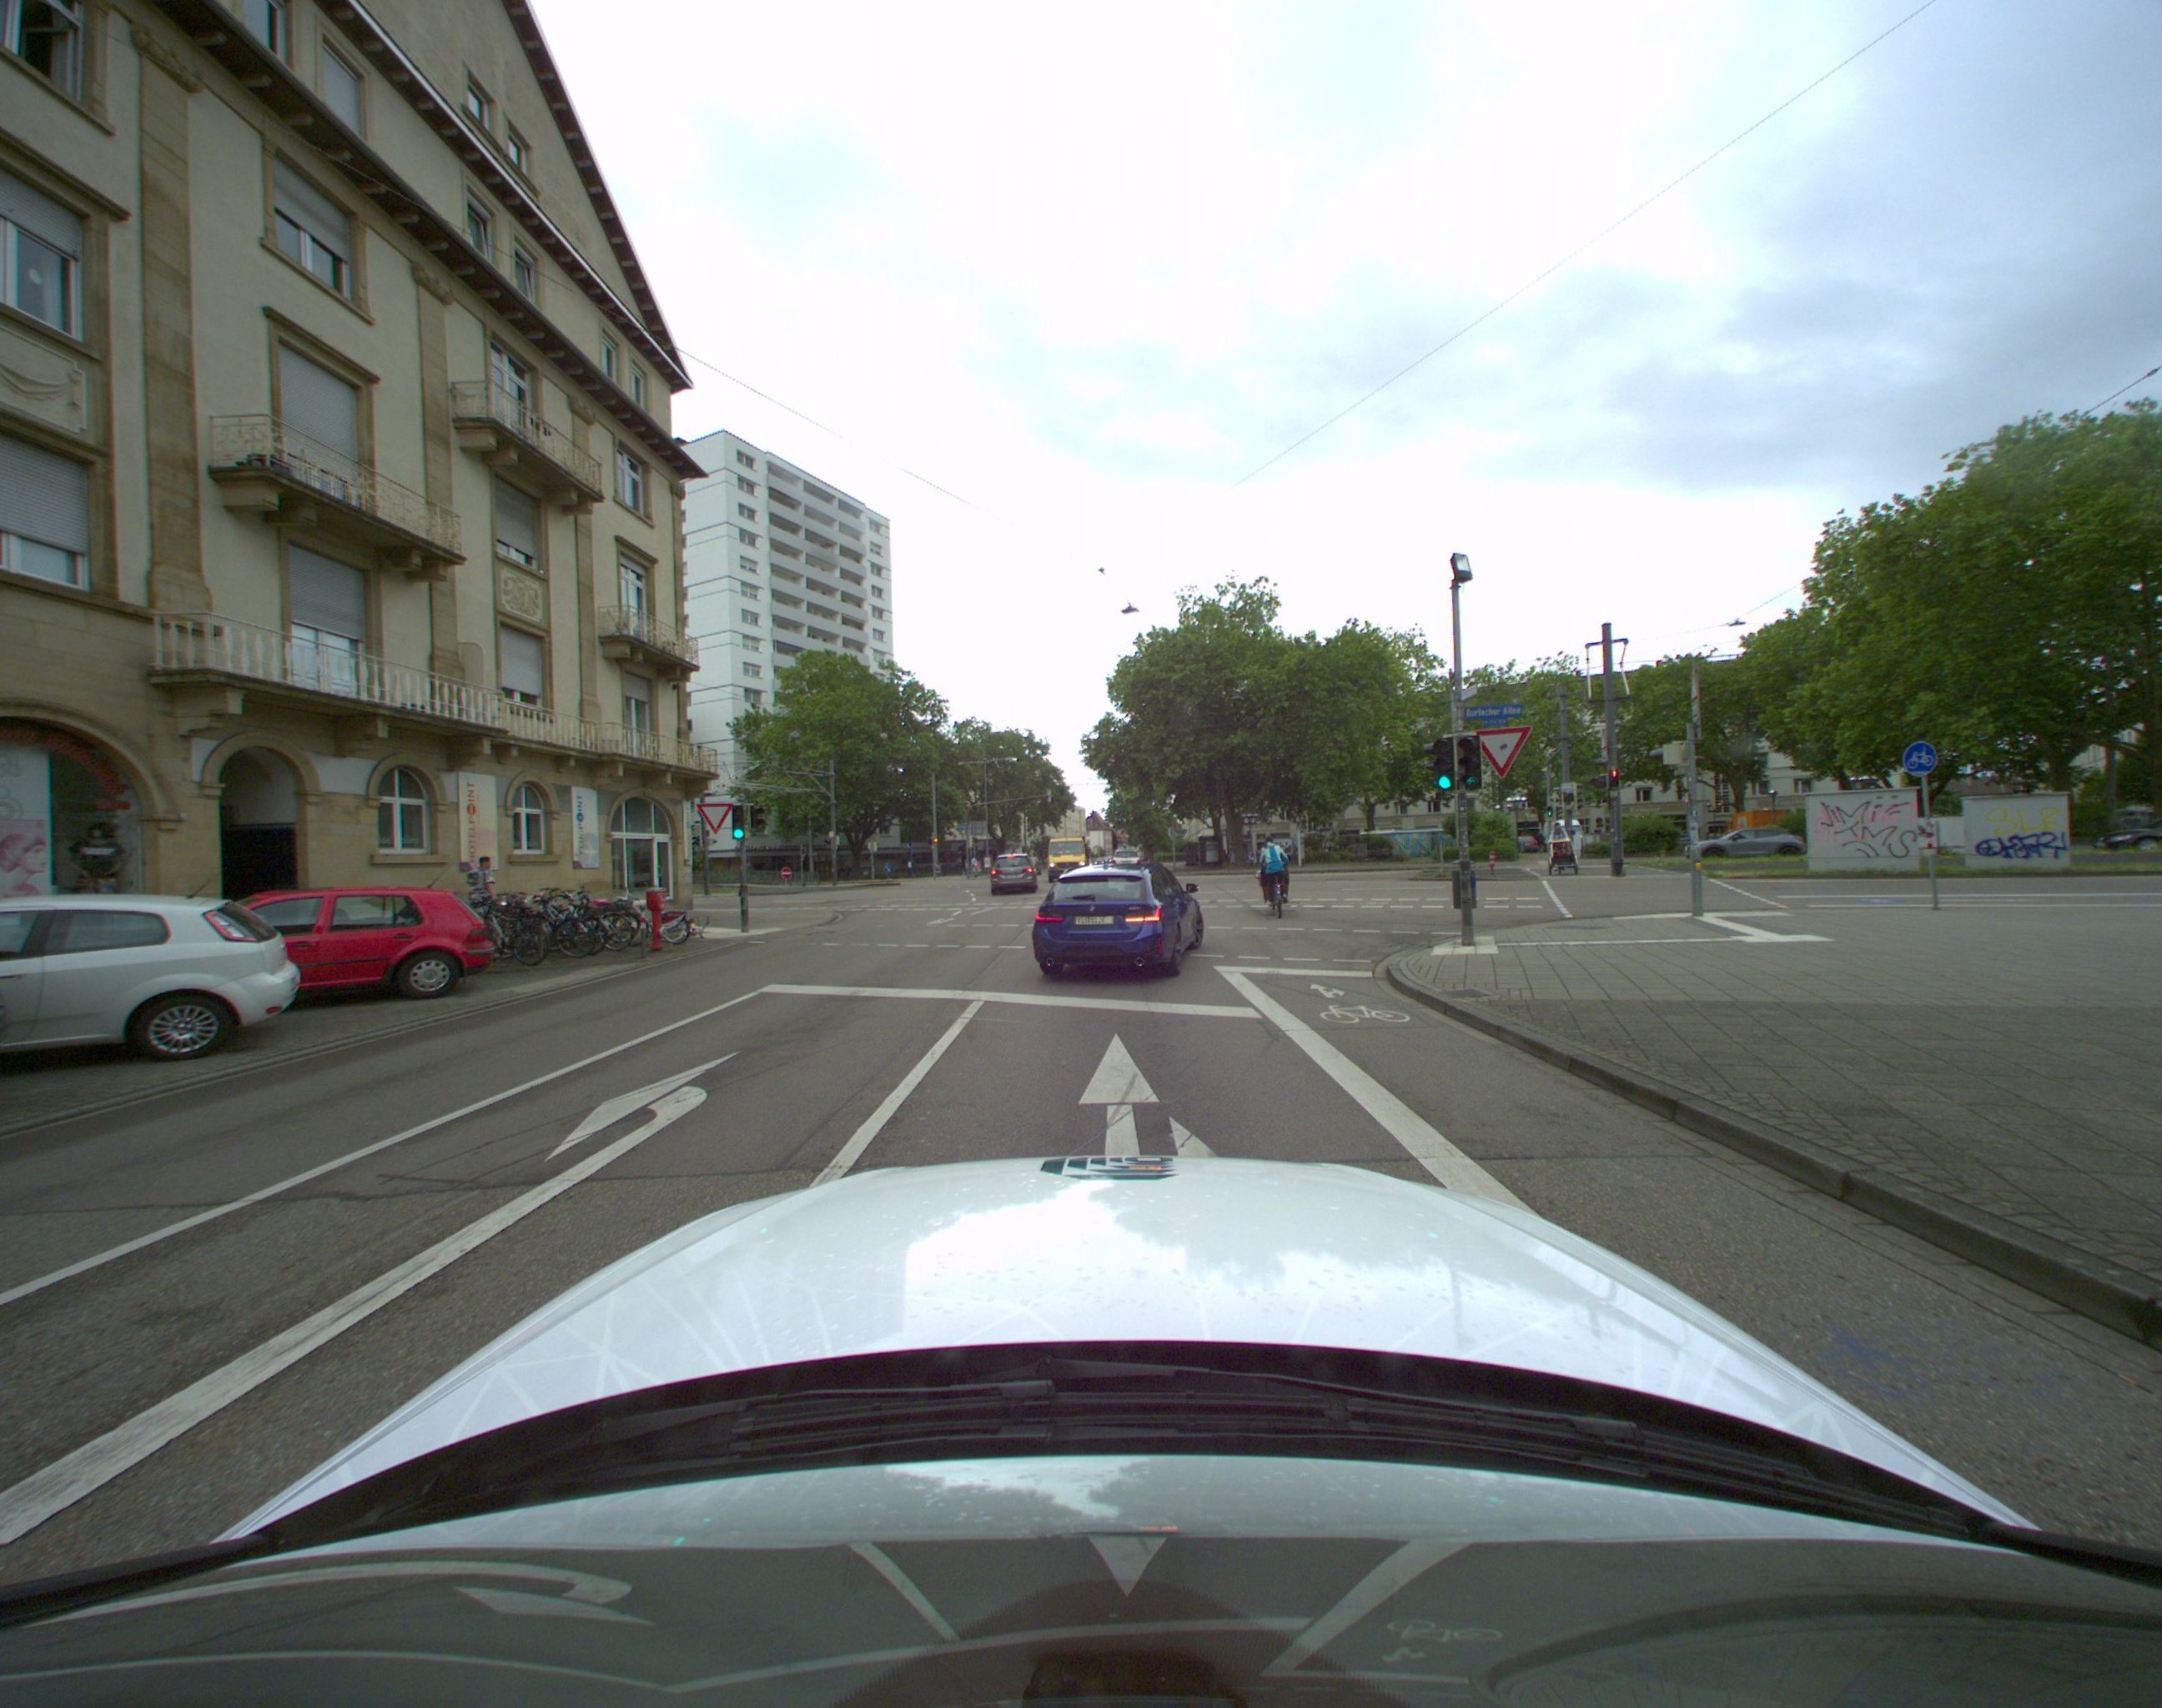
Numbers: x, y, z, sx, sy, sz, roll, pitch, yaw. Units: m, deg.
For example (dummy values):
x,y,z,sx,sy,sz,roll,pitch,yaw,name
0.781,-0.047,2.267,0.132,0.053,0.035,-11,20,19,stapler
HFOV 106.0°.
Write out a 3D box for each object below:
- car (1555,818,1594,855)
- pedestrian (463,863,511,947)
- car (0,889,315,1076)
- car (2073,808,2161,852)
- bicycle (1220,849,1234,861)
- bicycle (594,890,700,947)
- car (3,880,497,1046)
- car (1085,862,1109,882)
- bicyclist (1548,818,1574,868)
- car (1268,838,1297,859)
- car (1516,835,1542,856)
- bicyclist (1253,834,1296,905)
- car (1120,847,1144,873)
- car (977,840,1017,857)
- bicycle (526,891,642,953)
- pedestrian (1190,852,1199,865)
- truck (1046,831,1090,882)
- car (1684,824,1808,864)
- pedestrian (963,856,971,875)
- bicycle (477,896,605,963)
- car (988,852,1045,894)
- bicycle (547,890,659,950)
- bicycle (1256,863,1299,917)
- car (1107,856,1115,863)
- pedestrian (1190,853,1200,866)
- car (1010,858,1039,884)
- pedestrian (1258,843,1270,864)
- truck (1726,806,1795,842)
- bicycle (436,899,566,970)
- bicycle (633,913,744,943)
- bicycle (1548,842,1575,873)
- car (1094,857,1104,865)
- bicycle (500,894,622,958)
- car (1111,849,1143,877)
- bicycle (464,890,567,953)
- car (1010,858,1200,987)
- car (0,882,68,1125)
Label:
x,y,z,sx,sy,sz,roll,pitch,yaw,name
38.689,-1.378,63.977,2.214,2.639,5.481,-2,0,28,car
-13.004,1.106,17.837,0.564,1.785,0.551,-2,0,3,pedestrian
-9.654,1.117,7.253,4.020,1.472,1.546,0,-1,-40,car
40.365,-0.931,30.624,3.424,1.561,1.697,-3,-1,25,car
15.813,0.099,88.066,0.771,1.168,2.347,-3,-1,27,bicycle
-8.863,1.312,16.651,1.880,1.035,0.442,3,0,0,bicycle
-9.846,1.137,10.071,1.663,1.472,4.024,0,0,44,car
1.352,1.439,66.830,1.801,1.427,4.320,-2,0,3,car
16.295,-0.384,27.669,0.608,1.654,0.758,-3,0,23,bicyclist
22.556,-0.653,91.034,2.154,2.200,4.024,-3,0,27,car
35.258,-0.678,64.126,1.649,1.515,3.962,-2,0,28,car
4.297,0.333,18.124,0.683,1.517,1.059,-3,0,2,bicyclist
4.073,0.451,65.772,1.808,2.005,4.002,-3,0,2,car
-9.257,-0.628,89.753,4.008,1.706,1.982,-2,-1,-27,car
-9.439,1.279,15.485,1.880,1.035,0.442,3,0,0,bicycle
12.185,0.513,87.388,0.814,1.372,0.763,-2,-1,2,pedestrian
-0.717,0.097,42.799,2.069,2.408,5.459,-3,0,-2,truck
29.505,-0.413,36.303,3.940,1.561,1.697,-3,-1,25,car
-11.030,1.107,78.657,0.570,1.785,0.622,-2,0,10,pedestrian
-9.455,1.316,14.287,1.880,1.035,0.442,3,0,0,bicycle
-2.525,0.723,32.832,1.725,1.525,4.002,-3,0,2,car
-9.448,1.298,16.122,1.880,1.035,0.442,3,0,0,bicycle
4.369,0.778,18.263,0.492,1.098,2.140,-3,0,2,bicycle
7.321,1.309,199.068,1.760,1.486,4.003,-2,0,3,car
12.091,0.552,86.410,0.850,1.314,0.763,-2,-1,2,pedestrian
-4.623,1.354,67.354,1.913,2.013,3.939,-3,0,2,car
15.911,-0.041,70.785,0.781,1.743,0.925,-2,-1,1,pedestrian
52.568,-2.270,63.123,2.364,2.591,4.013,-2,0,11,truck
-9.578,1.319,13.474,1.877,1.036,0.443,2,0,5,bicycle
-8.482,1.595,17.678,1.880,0.445,1.029,3,2,0,bicycle
16.337,0.119,27.708,0.546,0.995,2.073,-3,0,25,bicycle
3.622,1.377,160.384,1.846,1.453,4.170,-2,0,2,car
-9.447,1.300,14.823,1.880,1.035,0.442,3,0,0,bicycle
2.776,0.522,49.461,1.808,1.592,4.002,-3,0,2,car
-10.931,1.278,15.826,0.499,1.027,1.998,-2,0,3,bicycle
0.571,0.825,11.639,1.802,1.405,4.336,-3,0,13,car
-9.397,1.075,4.656,4.248,1.651,1.711,-1,-1,-40,car
